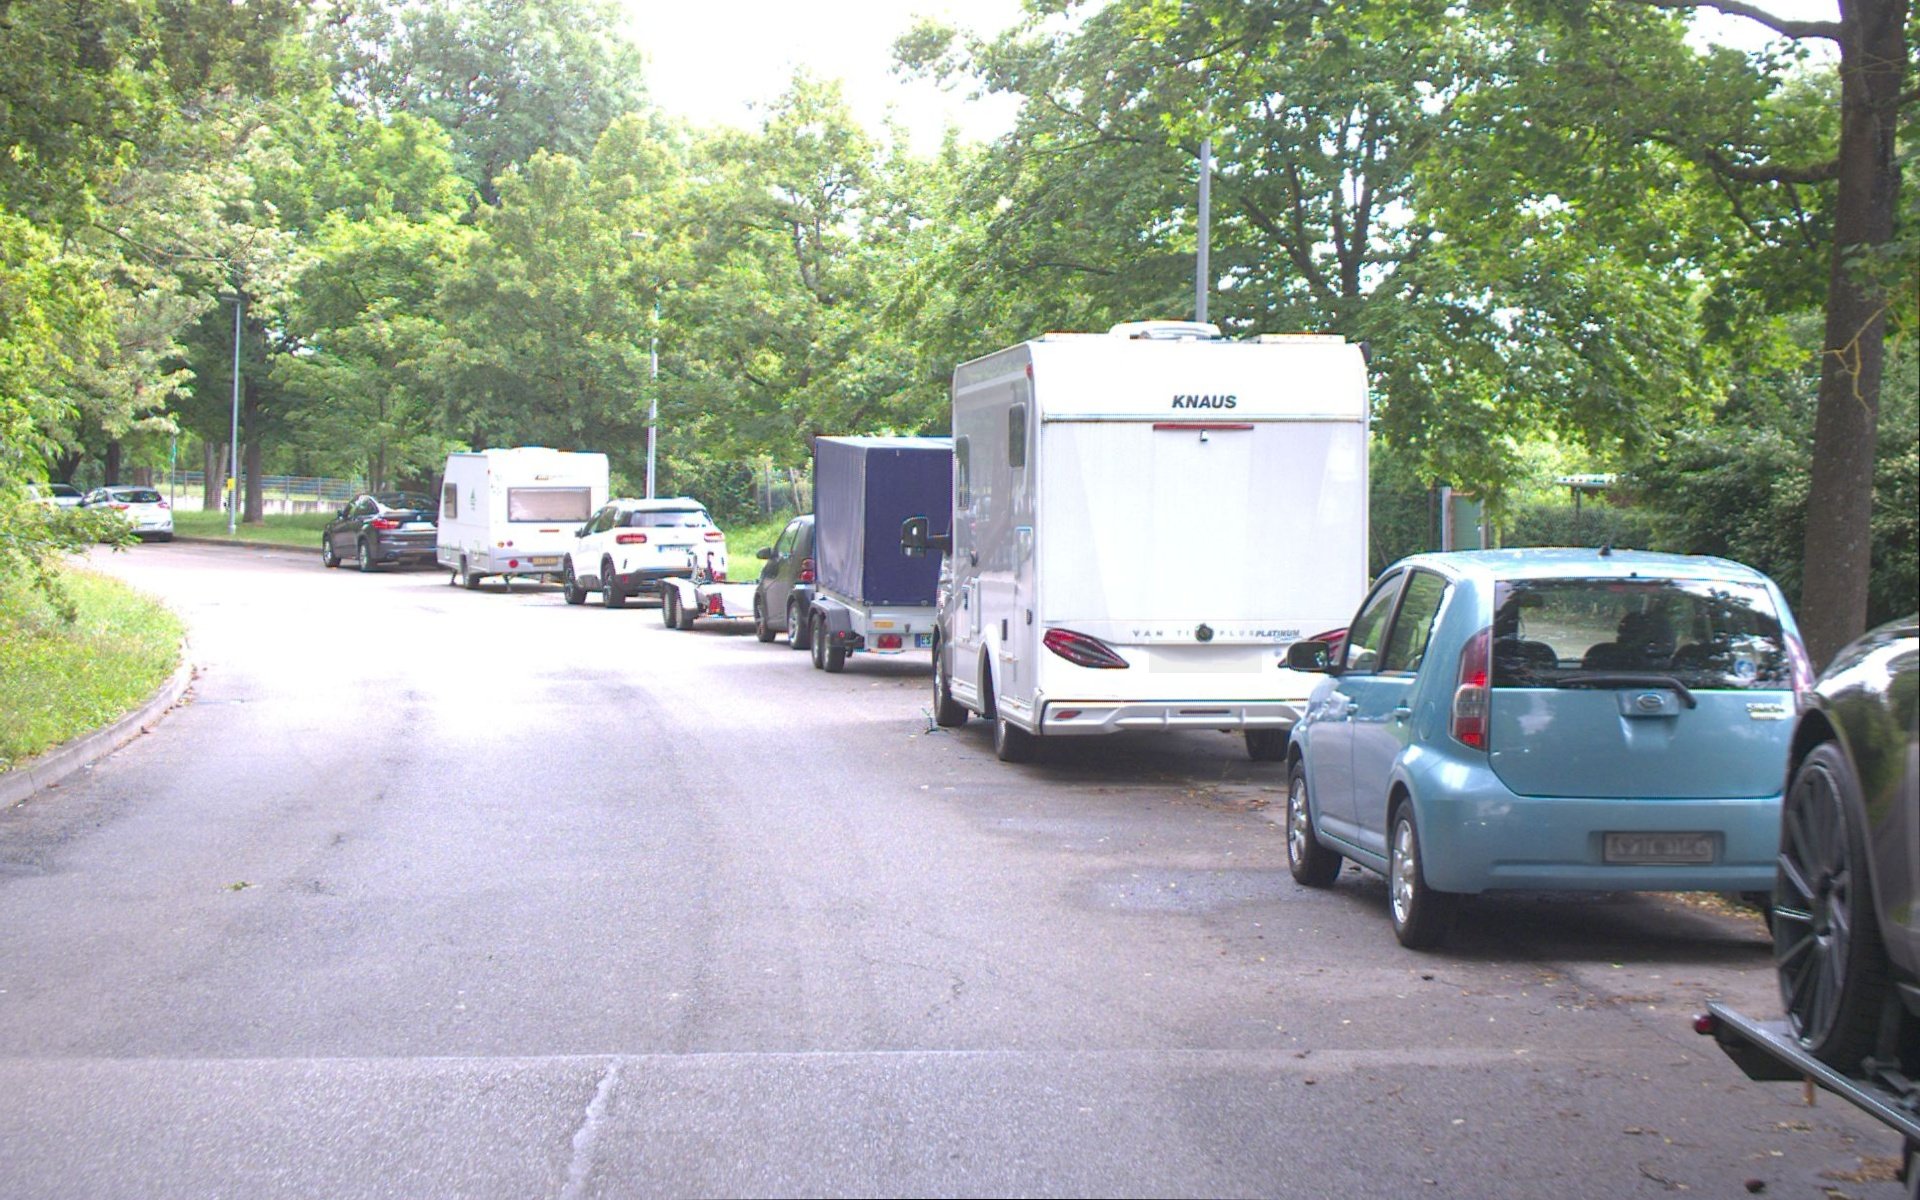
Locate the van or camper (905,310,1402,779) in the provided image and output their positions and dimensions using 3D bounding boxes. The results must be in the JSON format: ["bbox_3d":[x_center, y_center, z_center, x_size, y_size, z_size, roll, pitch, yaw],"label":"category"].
[{"bbox_3d":[1.156,-0.389,24.786,2.481,2.866,6.891,1,1,-6],"label":"van or camper"}]

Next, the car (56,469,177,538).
[{"bbox_3d":[-22.202,-2.529,90.362,1.993,1.748,4.000,0,1,-31],"label":"car"}]

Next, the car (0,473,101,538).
[{"bbox_3d":[-25.512,-2.620,95.729,1.993,1.748,4.000,0,1,-31],"label":"car"}]

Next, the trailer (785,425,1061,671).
[{"bbox_3d":[-0.457,-0.545,35.771,1.993,2.390,4.001,1,1,-13],"label":"trailer"}]

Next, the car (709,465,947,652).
[{"bbox_3d":[-1.629,-0.550,40.915,1.993,2.019,4.002,-2,3,-14],"label":"car"}]

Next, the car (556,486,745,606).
[{"bbox_3d":[-4.902,-0.863,53.950,2.034,1.797,4.084,0,2,-19],"label":"car"}]

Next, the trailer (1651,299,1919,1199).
[{"bbox_3d":[2.563,0.438,4.963,1.979,1.805,5.149,1,1,-1],"label":"trailer"}]

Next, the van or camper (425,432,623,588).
[{"bbox_3d":[-7.924,-1.638,62.147,2.526,2.688,4.577,-1,2,-21],"label":"van or camper"}]

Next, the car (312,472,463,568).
[{"bbox_3d":[-11.956,-1.697,71.617,1.993,1.863,4.001,-2,3,-26],"label":"car"}]

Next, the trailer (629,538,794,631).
[{"bbox_3d":[-3.283,-0.225,44.770,1.651,1.083,4.001,-1,2,-11],"label":"trailer"}]

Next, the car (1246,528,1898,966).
[{"bbox_3d":[2.377,0.496,14.343,1.799,1.556,3.836,1,1,-4],"label":"car"}]
